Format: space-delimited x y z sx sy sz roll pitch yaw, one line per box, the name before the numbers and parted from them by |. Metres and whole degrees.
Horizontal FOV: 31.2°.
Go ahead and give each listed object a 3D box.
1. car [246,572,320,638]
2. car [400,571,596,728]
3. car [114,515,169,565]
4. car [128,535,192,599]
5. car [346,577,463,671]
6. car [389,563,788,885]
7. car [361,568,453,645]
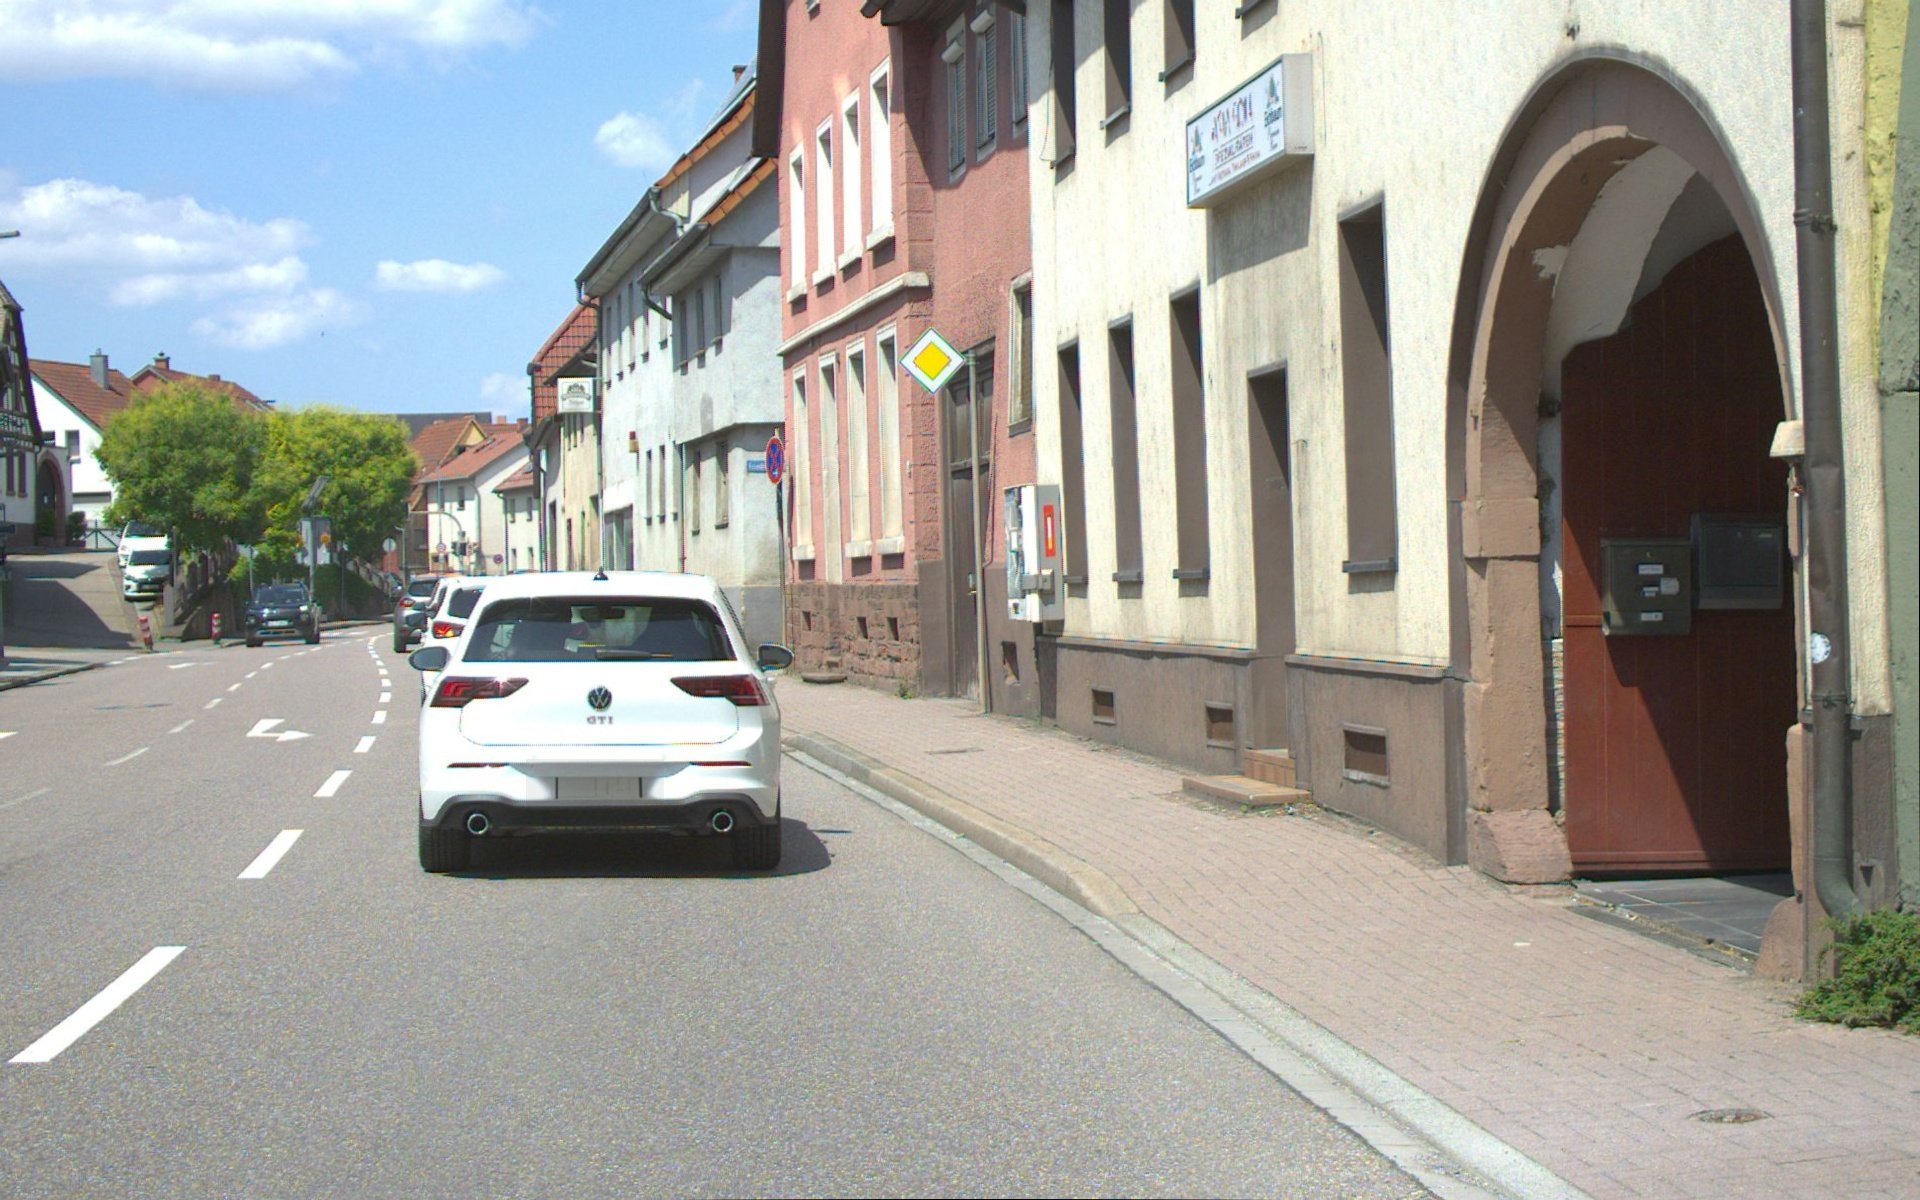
car | -17.575 0.121 89.363 1.669 1.652 4.018 -1 0 -8
car | -4.582 0.470 34.315 1.807 1.462 4.001 1 0 -7
car | -27.489 -2.026 115.530 1.576 1.357 3.858 -1 6 -10
car | -24.156 -1.016 103.856 1.693 1.537 3.858 -1 6 -10
car | -9.143 0.382 56.405 1.807 1.462 4.001 1 0 -10
car | -1.838 0.576 17.811 1.807 1.462 4.000 1 0 -4
car | -11.479 0.106 71.523 1.775 1.533 4.001 -1 0 -8
